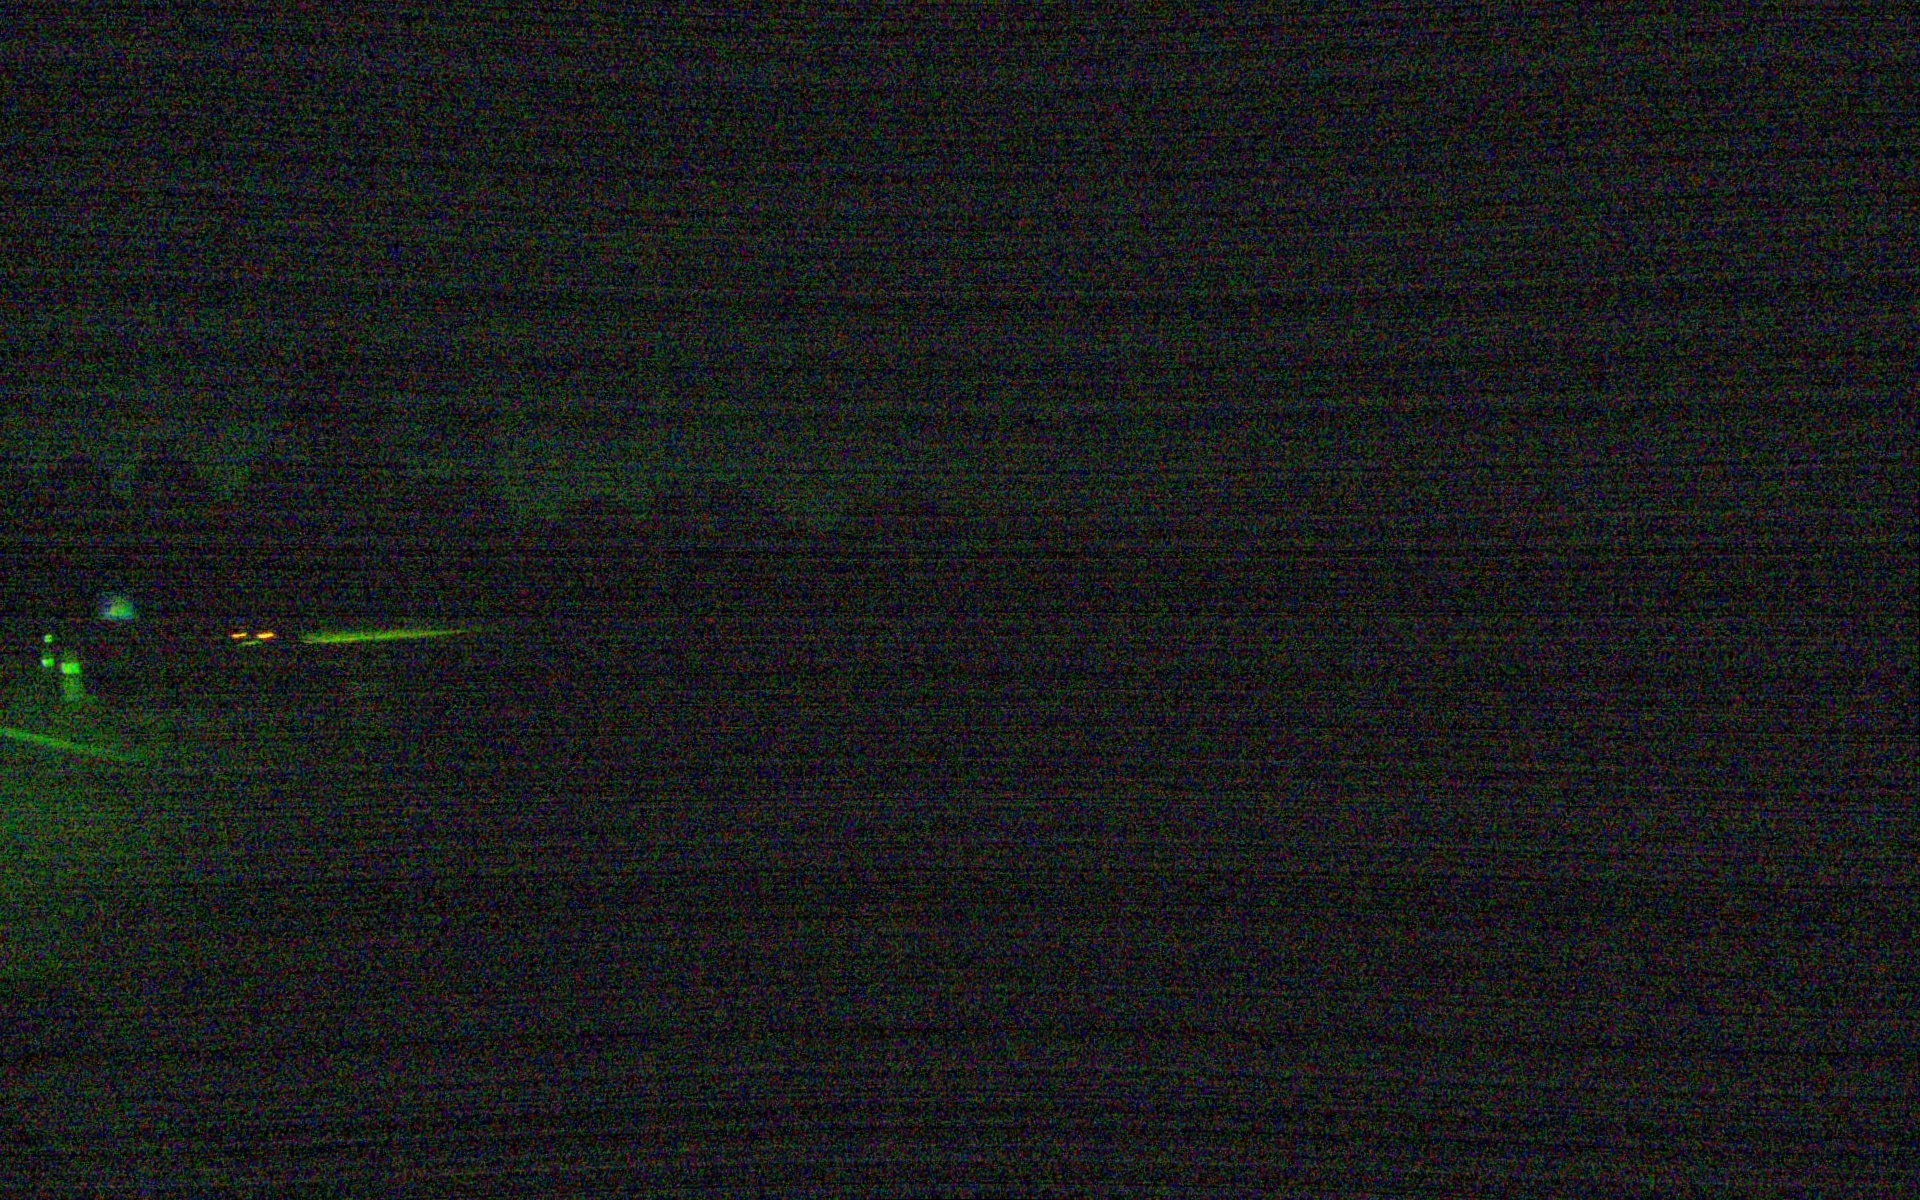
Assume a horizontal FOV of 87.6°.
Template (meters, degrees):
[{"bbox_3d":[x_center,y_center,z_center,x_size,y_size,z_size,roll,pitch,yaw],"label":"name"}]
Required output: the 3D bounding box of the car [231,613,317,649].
[{"bbox_3d":[-37.461,1.664,54.821,1.900,1.840,4.264,-1,0,-3],"label":"car"}]
